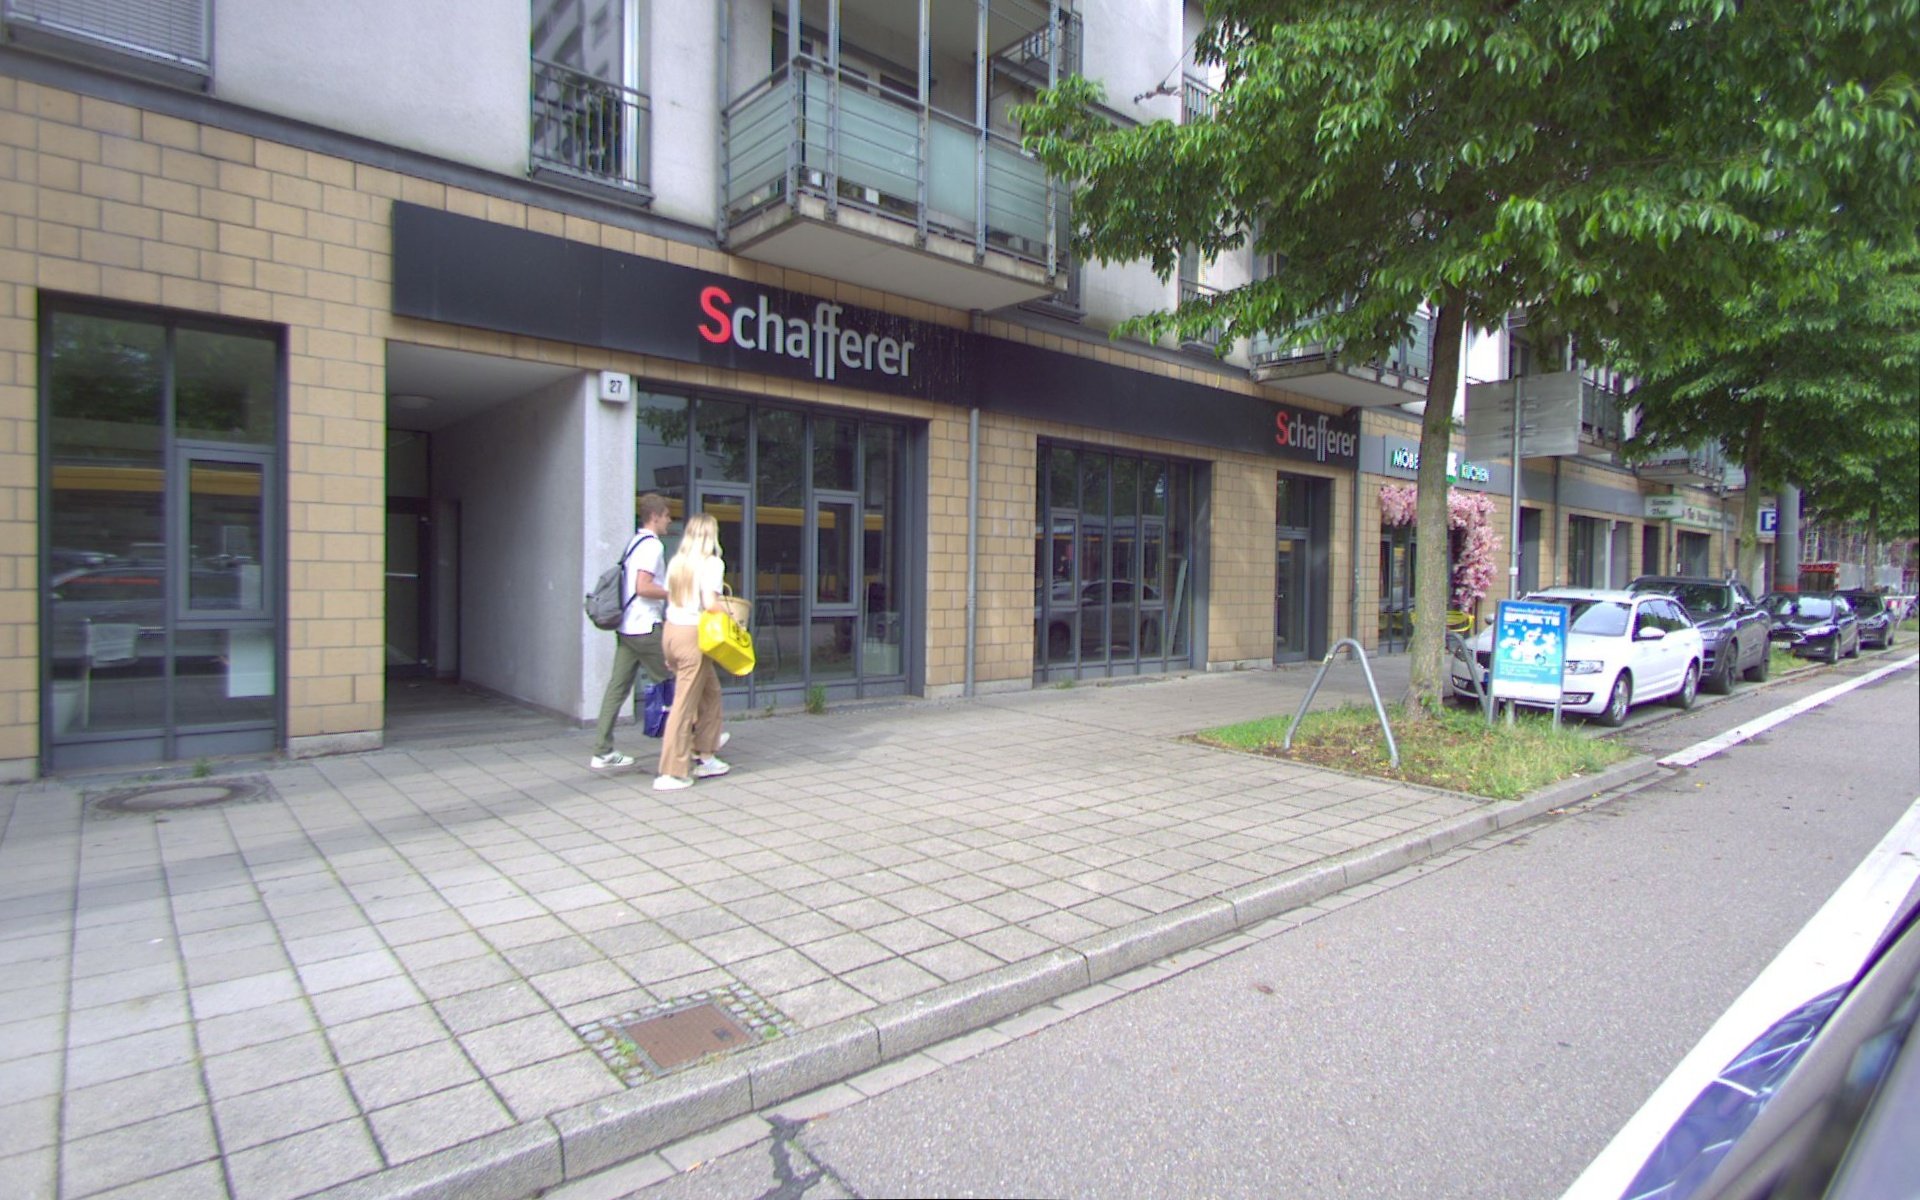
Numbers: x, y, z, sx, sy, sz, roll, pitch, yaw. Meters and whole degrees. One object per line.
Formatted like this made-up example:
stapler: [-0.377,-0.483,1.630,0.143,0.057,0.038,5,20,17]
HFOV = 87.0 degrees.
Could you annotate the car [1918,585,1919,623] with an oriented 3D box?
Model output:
car: [39.966,0.169,40.651,4.206,1.478,1.754,-1,4,-41]

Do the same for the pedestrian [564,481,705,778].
pedestrian: [-2.254,0.176,7.004,0.724,1.914,0.677,0,2,-39]

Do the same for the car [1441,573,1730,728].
car: [7.805,0.478,12.468,4.312,1.517,1.681,-1,4,-40]

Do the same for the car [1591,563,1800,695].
car: [11.758,0.335,16.048,4.632,1.737,1.715,-1,4,-42]

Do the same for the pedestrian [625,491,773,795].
pedestrian: [-1.691,0.248,6.552,0.724,1.828,0.617,0,2,-39]

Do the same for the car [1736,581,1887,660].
car: [18.397,0.364,21.807,4.329,1.459,1.681,-1,4,-40]

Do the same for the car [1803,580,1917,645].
car: [24.000,0.270,26.928,4.315,1.472,1.800,-1,5,-43]
